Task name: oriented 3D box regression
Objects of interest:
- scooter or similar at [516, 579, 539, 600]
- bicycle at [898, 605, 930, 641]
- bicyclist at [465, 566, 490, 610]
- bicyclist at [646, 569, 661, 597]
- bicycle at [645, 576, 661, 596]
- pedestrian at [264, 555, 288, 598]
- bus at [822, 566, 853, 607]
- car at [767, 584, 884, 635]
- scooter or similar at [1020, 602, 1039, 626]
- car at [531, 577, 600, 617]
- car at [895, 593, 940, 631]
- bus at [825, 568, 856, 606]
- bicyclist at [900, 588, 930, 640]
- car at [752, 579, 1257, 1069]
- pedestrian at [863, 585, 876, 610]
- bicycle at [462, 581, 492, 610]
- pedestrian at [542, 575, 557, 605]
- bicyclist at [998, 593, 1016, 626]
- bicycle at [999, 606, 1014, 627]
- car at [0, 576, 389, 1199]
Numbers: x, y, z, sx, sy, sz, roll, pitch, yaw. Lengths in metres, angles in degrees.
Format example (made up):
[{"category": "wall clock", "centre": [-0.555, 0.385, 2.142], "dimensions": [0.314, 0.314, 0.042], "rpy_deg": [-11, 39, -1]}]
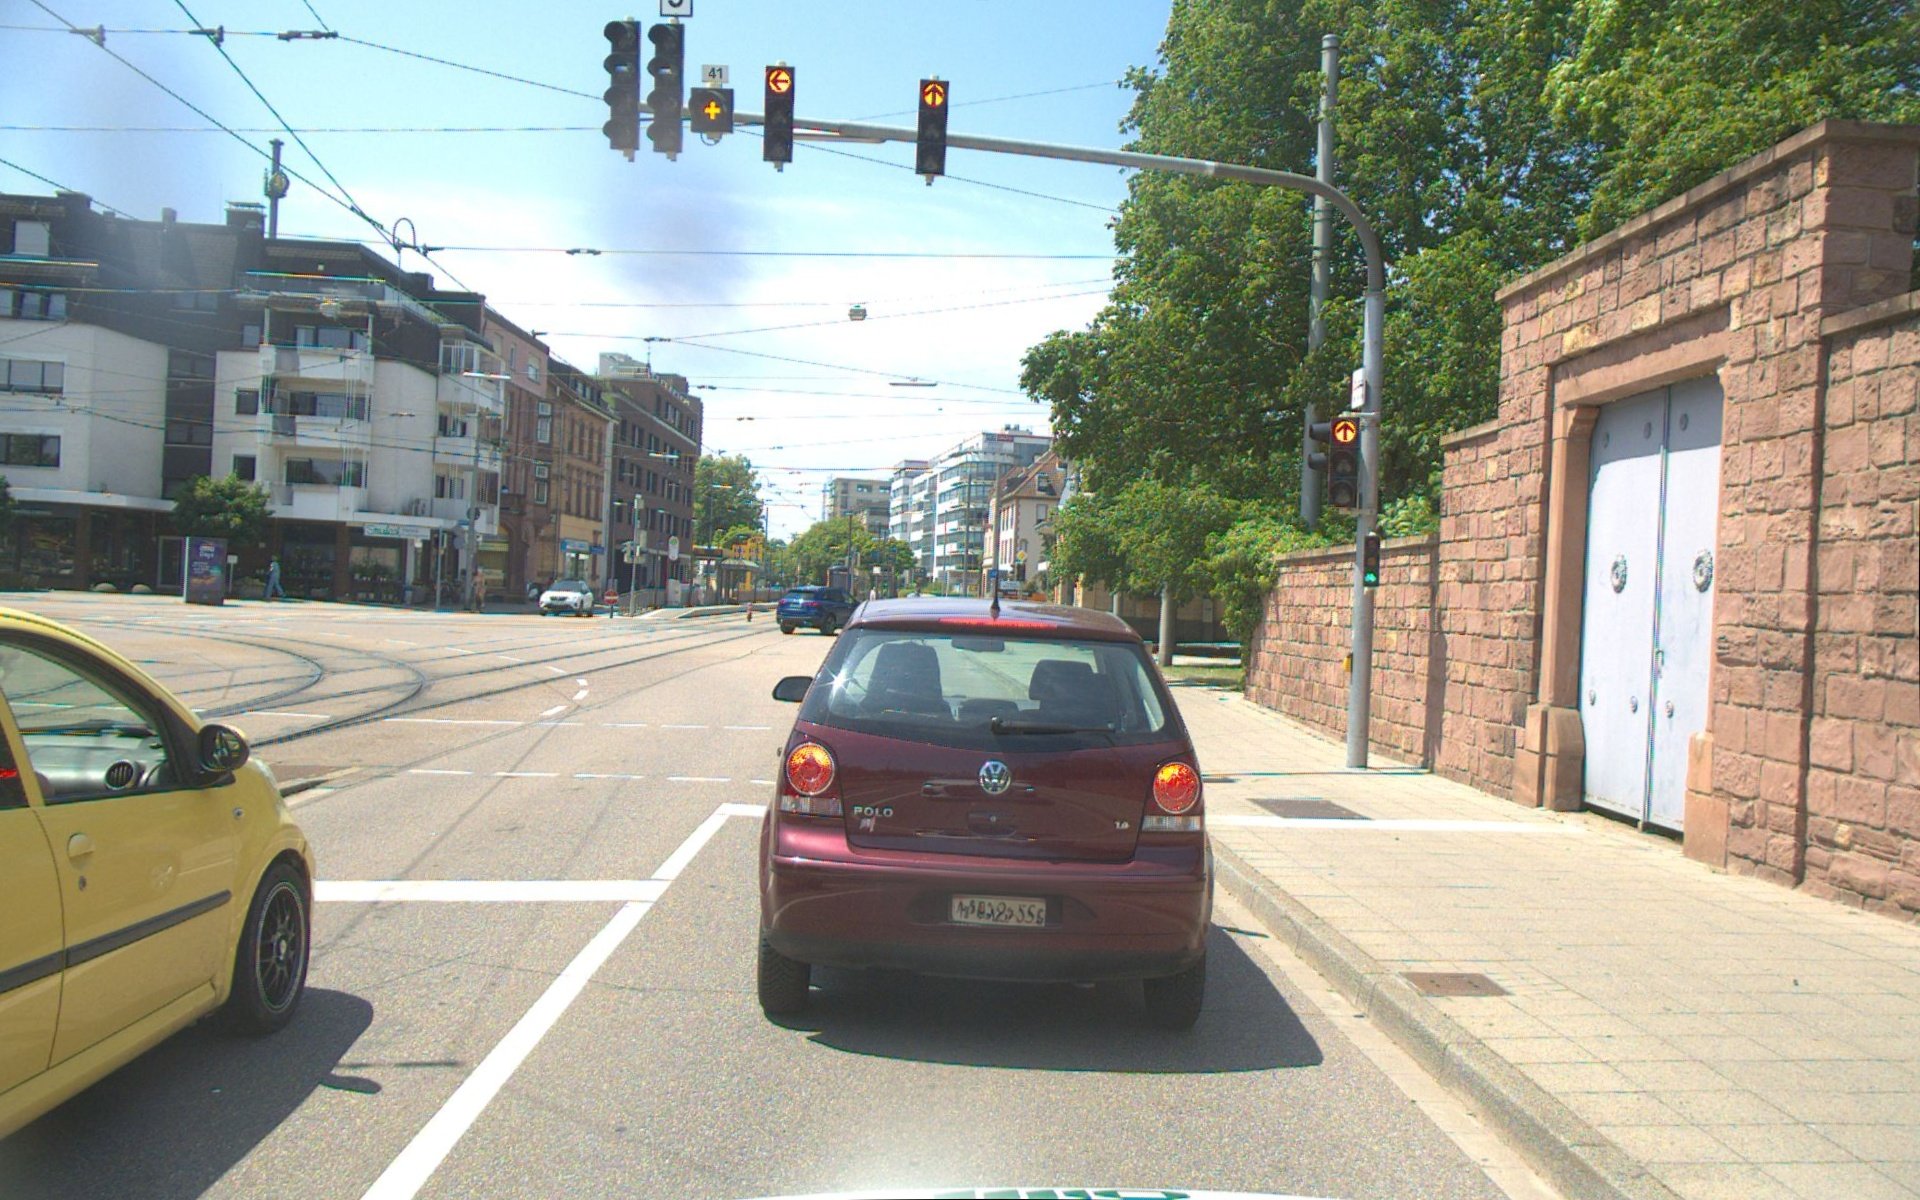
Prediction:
[{"category": "scooter or similar", "centre": [-23.881, -0.578, 91.418], "dimensions": [0.477, 1.101, 1.578], "rpy_deg": [2, 0, 15]}, {"category": "bicycle", "centre": [-1.597, 0.805, 58.057], "dimensions": [0.368, 1.218, 1.905], "rpy_deg": [2, 0, 22]}, {"category": "bicyclist", "centre": [-20.262, -0.507, 69.419], "dimensions": [0.680, 1.796, 1.137], "rpy_deg": [2, 1, -2]}, {"category": "bicyclist", "centre": [-20.298, -1.144, 109.439], "dimensions": [0.717, 1.793, 1.134], "rpy_deg": [3, 1, -1]}, {"category": "bicycle", "centre": [-20.305, -0.930, 109.427], "dimensions": [0.663, 1.327, 2.104], "rpy_deg": [3, 1, -1]}, {"category": "pedestrian", "centre": [-28.267, -0.968, 68.357], "dimensions": [0.796, 1.726, 0.695], "rpy_deg": [2, 0, -30]}, {"category": "bus", "centre": [-9.663, -1.079, 130.975], "dimensions": [2.102, 3.055, 6.570], "rpy_deg": [2, 0, -2]}, {"category": "car", "centre": [-4.681, 0.363, 58.381], "dimensions": [1.955, 1.653, 4.626], "rpy_deg": [2, 0, 27]}, {"category": "scooter or similar", "centre": [3.548, 0.710, 84.381], "dimensions": [0.335, 1.198, 1.456], "rpy_deg": [2, 0, -25]}, {"category": "car", "centre": [-16.850, -0.112, 70.814], "dimensions": [1.953, 1.580, 4.138], "rpy_deg": [2, 0, -1]}, {"category": "car", "centre": [-1.861, 0.504, 73.303], "dimensions": [1.786, 1.556, 4.000], "rpy_deg": [2, 0, 1]}, {"category": "bus", "centre": [-9.908, -1.061, 137.541], "dimensions": [2.188, 3.055, 6.591], "rpy_deg": [2, 0, -2]}, {"category": "bicyclist", "centre": [-1.588, 0.491, 58.249], "dimensions": [0.712, 1.791, 0.924], "rpy_deg": [2, 0, 22]}, {"category": "car", "centre": [0.096, 0.701, 6.711], "dimensions": [1.530, 1.479, 3.060], "rpy_deg": [2, 0, -2]}, {"category": "pedestrian", "centre": [-6.097, -0.163, 111.857], "dimensions": [0.747, 1.704, 1.100], "rpy_deg": [2, 0, -1]}, {"category": "bicycle", "centre": [-20.277, -0.199, 69.448], "dimensions": [0.680, 1.169, 1.931], "rpy_deg": [2, 1, -2]}, {"category": "pedestrian", "centre": [-22.022, -0.549, 88.807], "dimensions": [0.602, 1.588, 0.640], "rpy_deg": [2, 0, -2]}, {"category": "bicyclist", "centre": [2.405, 0.489, 84.431], "dimensions": [0.815, 1.646, 0.860], "rpy_deg": [-2, 0, -1]}, {"category": "bicycle", "centre": [2.380, 0.818, 84.381], "dimensions": [0.655, 1.020, 1.863], "rpy_deg": [-2, 1, -1]}, {"category": "car", "centre": [-2.896, 0.674, 4.403], "dimensions": [1.583, 1.446, 3.654], "rpy_deg": [0, 0, -2]}]
